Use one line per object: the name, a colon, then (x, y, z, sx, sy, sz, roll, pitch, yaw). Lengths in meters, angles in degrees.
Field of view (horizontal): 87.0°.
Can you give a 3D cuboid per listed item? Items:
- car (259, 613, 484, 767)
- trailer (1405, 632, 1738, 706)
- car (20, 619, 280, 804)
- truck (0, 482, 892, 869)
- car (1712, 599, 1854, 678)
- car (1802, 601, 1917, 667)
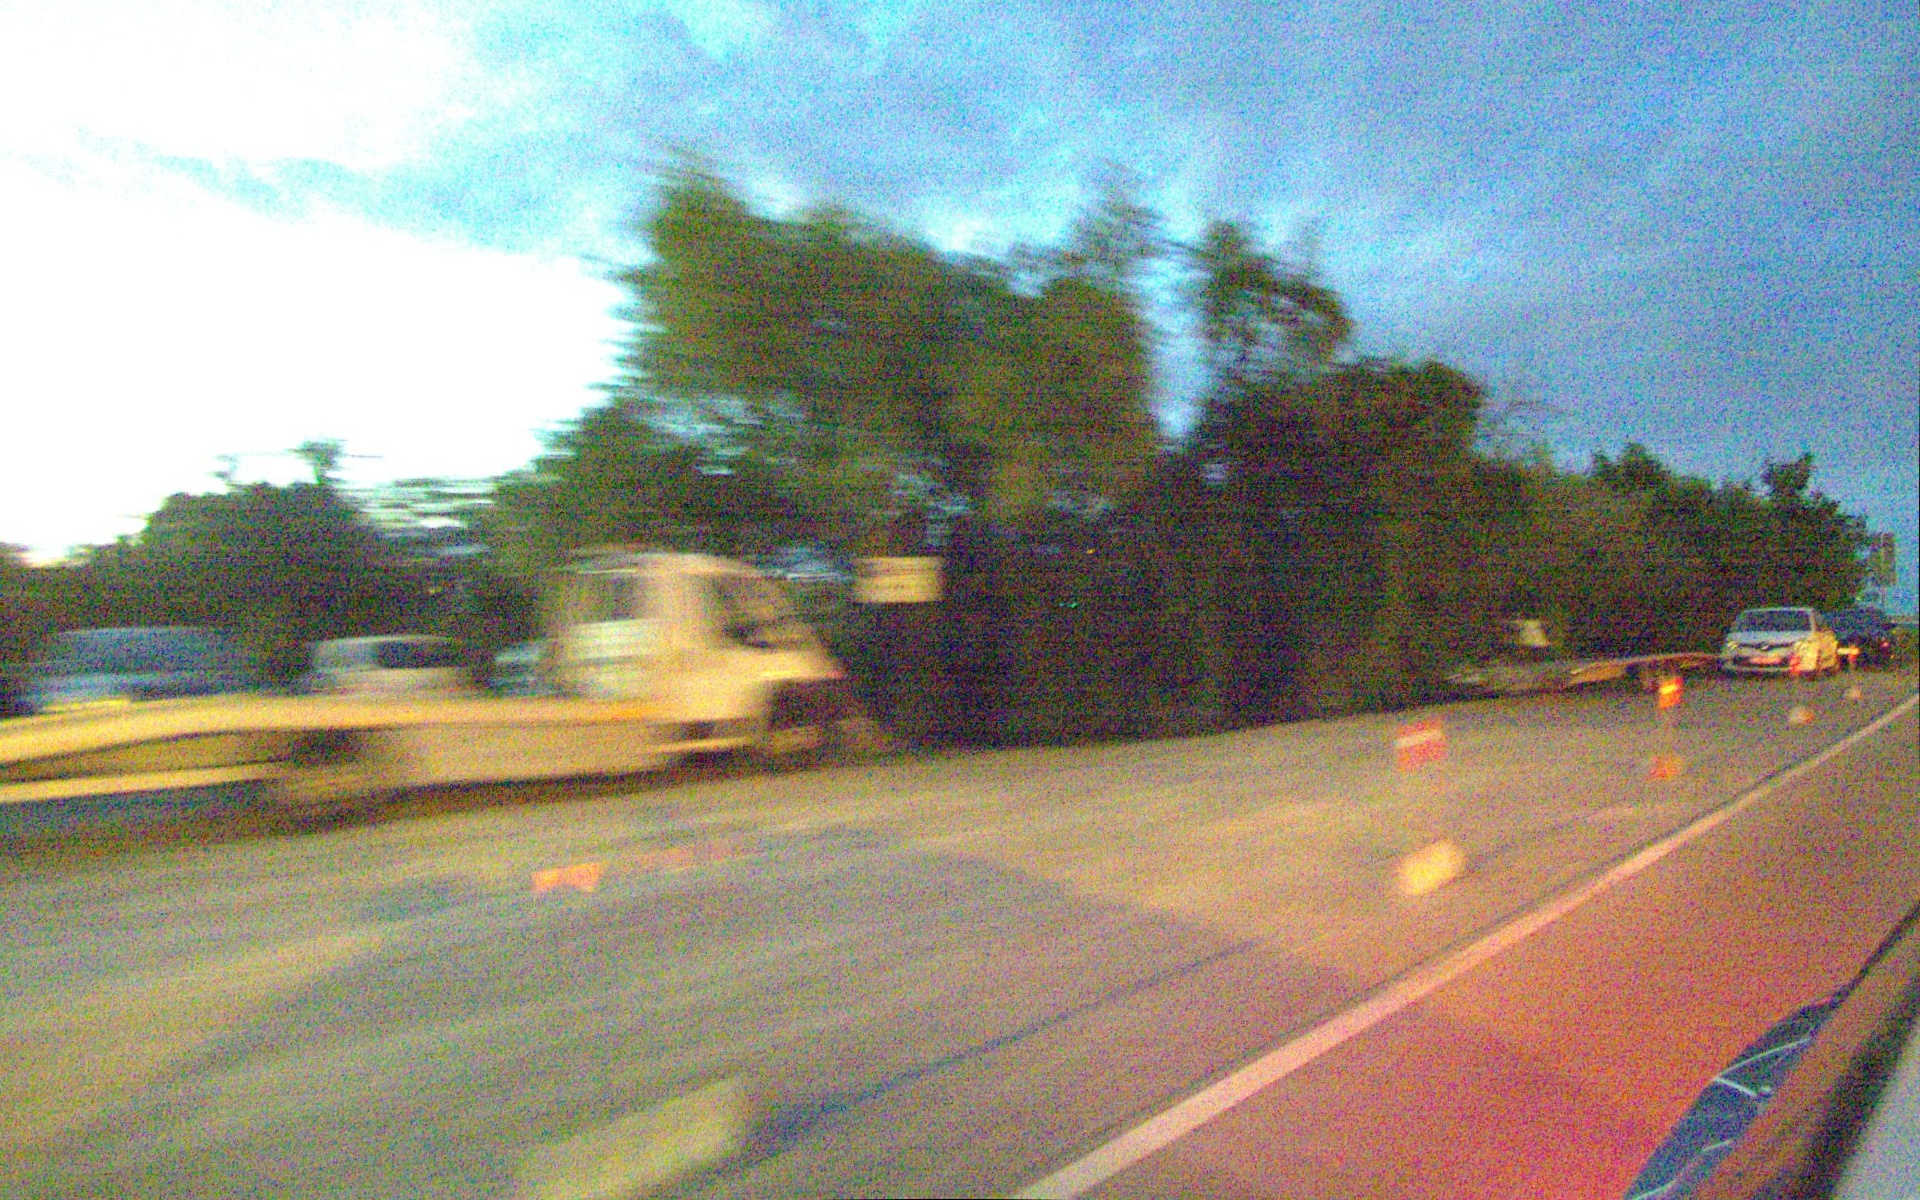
car: (-7.506, 1.004, 12.752, 1.680, 1.625, 3.859, 0, -2, -42)
trailer: (11.412, 1.136, 18.299, 9.443, 0.979, 2.177, 1, -3, -40)
car: (-8.633, 1.020, 10.878, 1.868, 1.581, 3.863, 0, -2, -39)
truck: (-4.319, 0.483, 8.970, 7.611, 2.313, 2.380, 0, -2, -42)
car: (18.145, 0.808, 22.251, 3.933, 1.572, 1.935, 1, -3, -44)
car: (23.509, 0.881, 26.391, 1.993, 1.572, 4.256, -3, -3, 44)
